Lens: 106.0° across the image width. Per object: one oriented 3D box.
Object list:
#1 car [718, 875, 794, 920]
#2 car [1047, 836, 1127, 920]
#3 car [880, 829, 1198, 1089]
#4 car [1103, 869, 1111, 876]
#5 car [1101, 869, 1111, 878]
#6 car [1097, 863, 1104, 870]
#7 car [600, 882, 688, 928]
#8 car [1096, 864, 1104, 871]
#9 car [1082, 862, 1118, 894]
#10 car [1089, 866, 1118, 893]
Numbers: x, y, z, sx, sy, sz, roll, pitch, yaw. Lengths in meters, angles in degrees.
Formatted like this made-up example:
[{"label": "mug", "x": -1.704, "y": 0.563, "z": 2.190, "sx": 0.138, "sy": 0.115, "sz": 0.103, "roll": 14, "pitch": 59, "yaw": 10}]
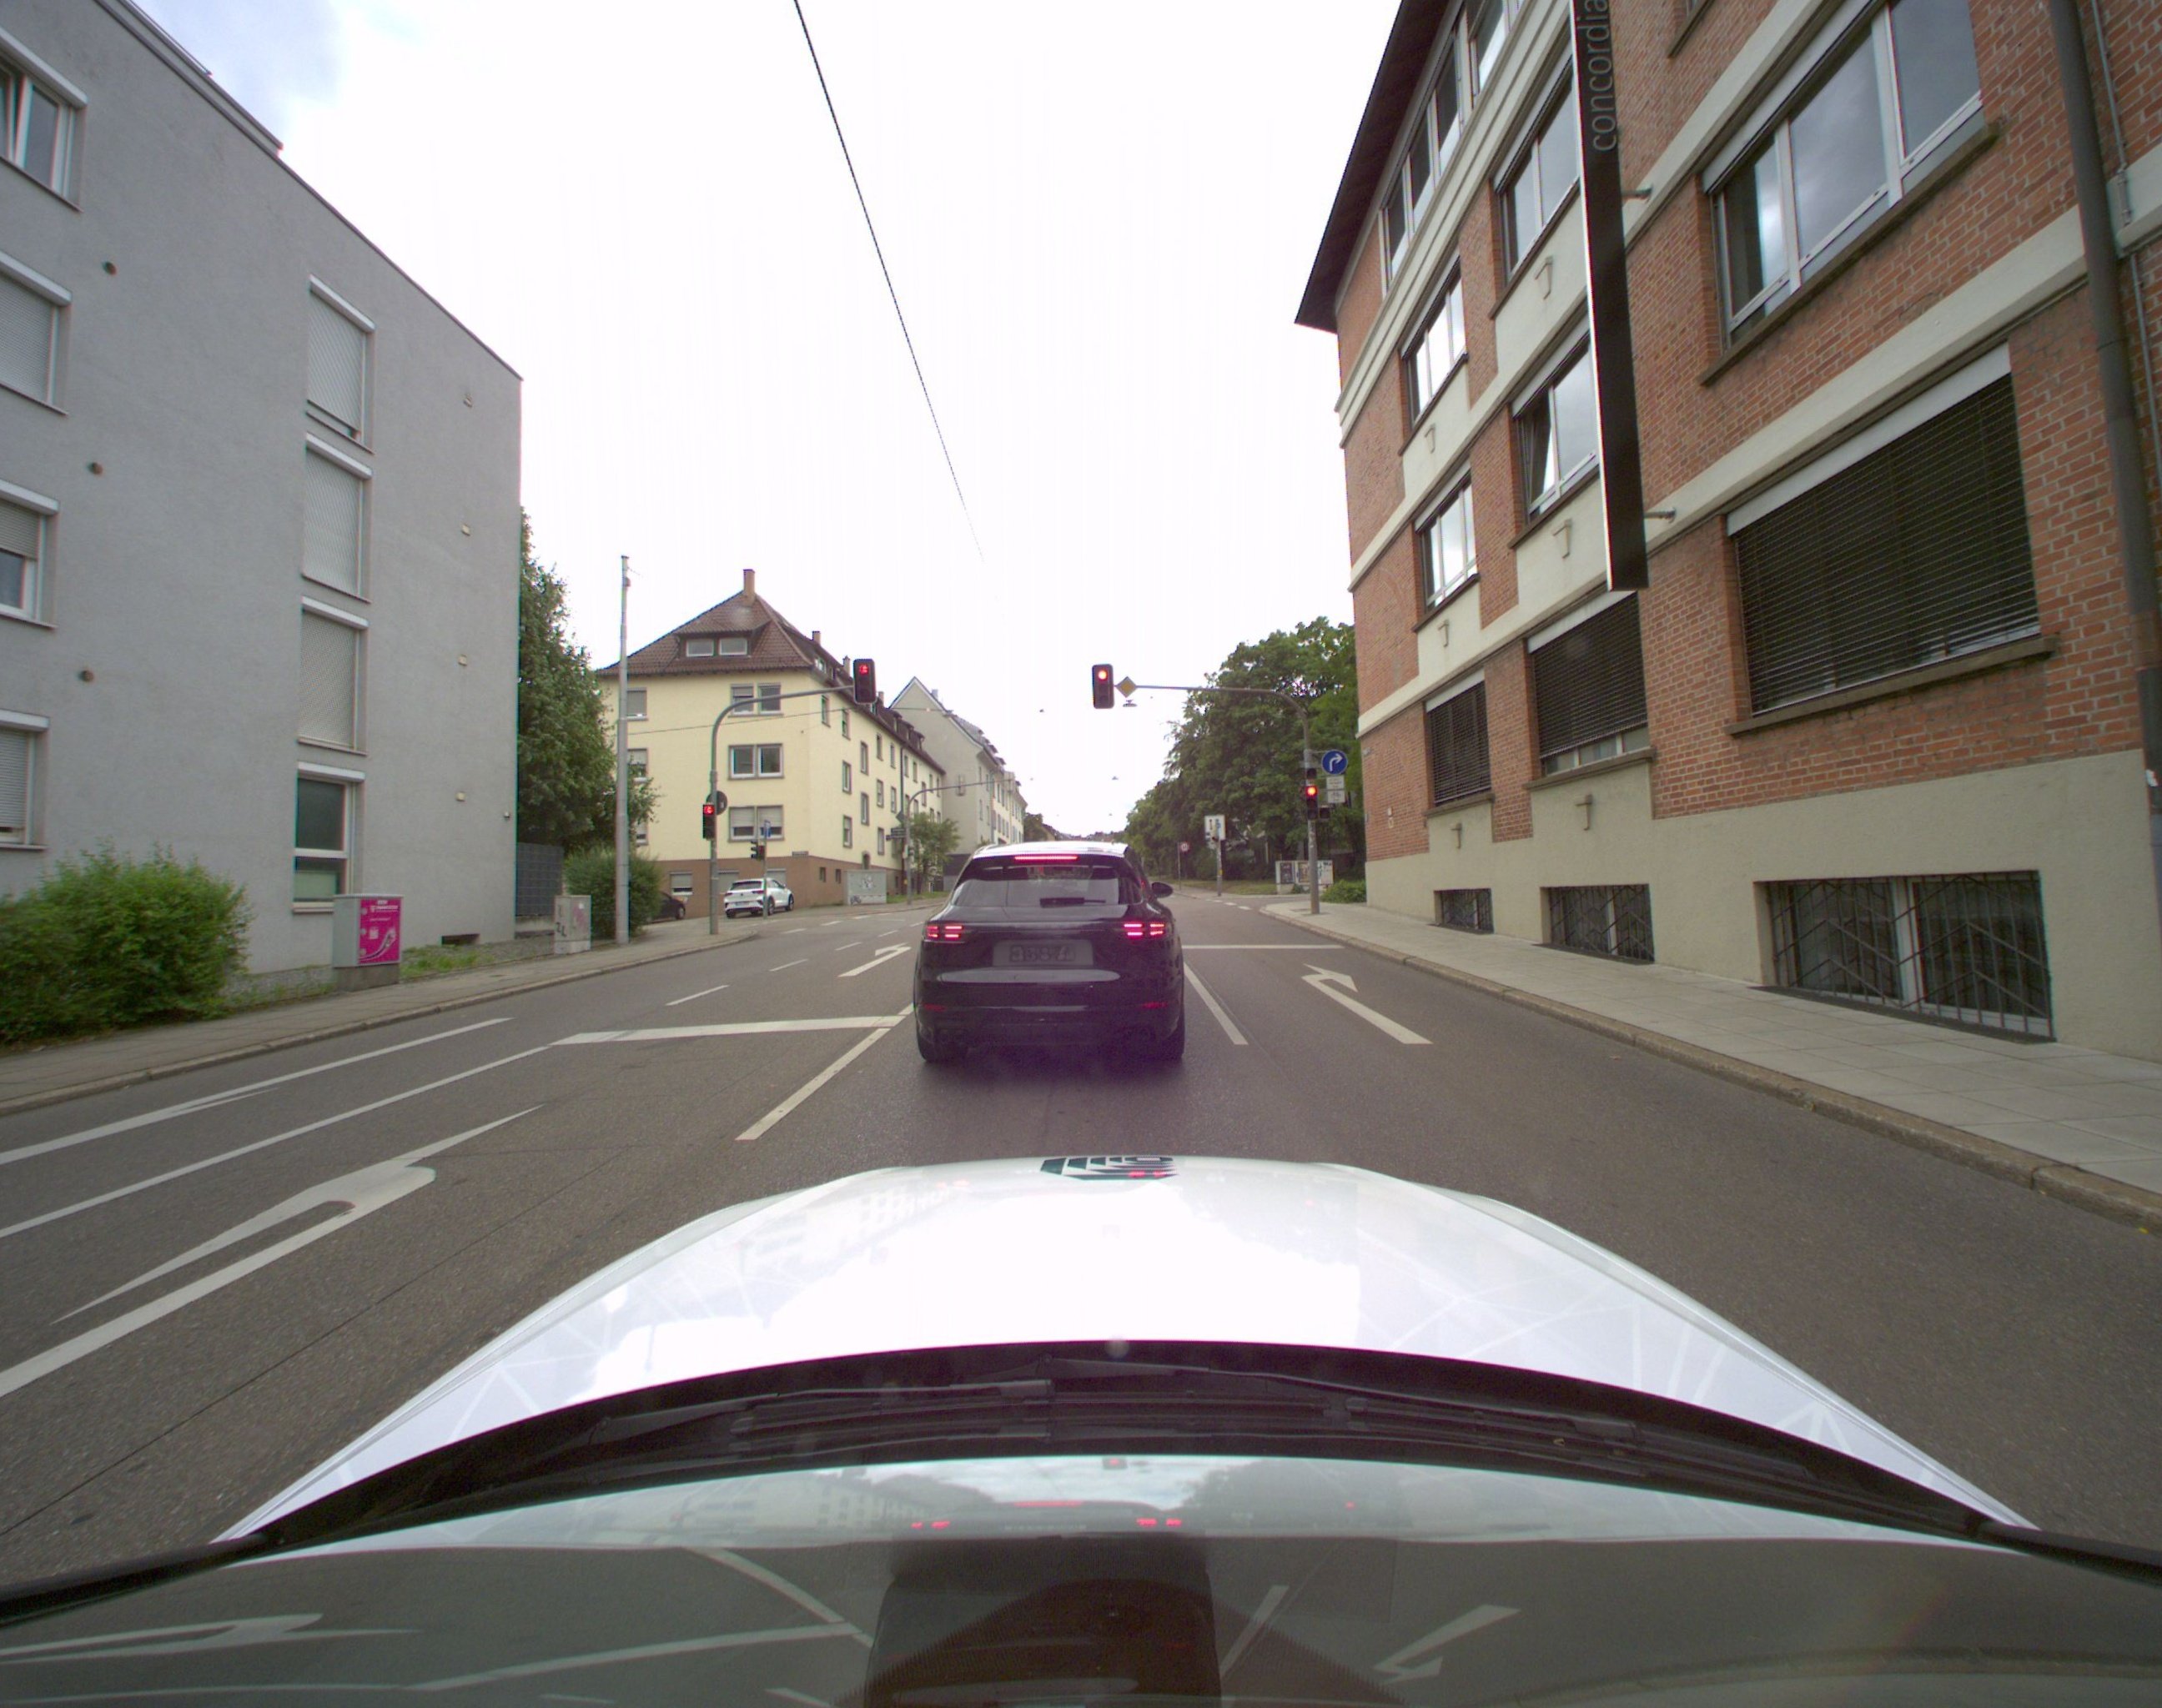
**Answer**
[{"label": "car", "x": -13.533, "y": 1.766, "z": 34.184, "sx": 1.686, "sy": 1.555, "sz": 3.763, "roll": -4, "pitch": 0, "yaw": -2}, {"label": "car", "x": 0.226, "y": 0.594, "z": 22.028, "sx": 1.957, "sy": 2.042, "sz": 4.137, "roll": 0, "pitch": 0, "yaw": 2}, {"label": "car", "x": -0.195, "y": 0.678, "z": 7.378, "sx": 2.040, "sy": 1.666, "sz": 4.269, "roll": 0, "pitch": 0, "yaw": 2}, {"label": "car", "x": 5.887, "y": 4.119, "z": 182.538, "sx": 1.820, "sy": 1.605, "sz": 4.137, "roll": 0, "pitch": 0, "yaw": 2}, {"label": "car", "x": 5.048, "y": 3.887, "z": 163.372, "sx": 1.820, "sy": 1.605, "sz": 4.137, "roll": 0, "pitch": 0, "yaw": 2}, {"label": "car", "x": 5.100, "y": 3.258, "z": 210.382, "sx": 1.820, "sy": 1.605, "sz": 4.137, "roll": 0, "pitch": 0, "yaw": 2}, {"label": "car", "x": -18.497, "y": 2.129, "z": 34.649, "sx": 1.686, "sy": 1.608, "sz": 3.763, "roll": -4, "pitch": 0, "yaw": -2}, {"label": "car", "x": 4.680, "y": 3.284, "z": 203.061, "sx": 1.820, "sy": 1.605, "sz": 4.137, "roll": 0, "pitch": 0, "yaw": 2}, {"label": "car", "x": 1.054, "y": 1.264, "z": 43.937, "sx": 1.820, "sy": 1.605, "sz": 4.137, "roll": 0, "pitch": 0, "yaw": 2}, {"label": "car", "x": 1.469, "y": 1.643, "z": 52.645, "sx": 1.820, "sy": 1.605, "sz": 3.860, "roll": 0, "pitch": 0, "yaw": 2}]
